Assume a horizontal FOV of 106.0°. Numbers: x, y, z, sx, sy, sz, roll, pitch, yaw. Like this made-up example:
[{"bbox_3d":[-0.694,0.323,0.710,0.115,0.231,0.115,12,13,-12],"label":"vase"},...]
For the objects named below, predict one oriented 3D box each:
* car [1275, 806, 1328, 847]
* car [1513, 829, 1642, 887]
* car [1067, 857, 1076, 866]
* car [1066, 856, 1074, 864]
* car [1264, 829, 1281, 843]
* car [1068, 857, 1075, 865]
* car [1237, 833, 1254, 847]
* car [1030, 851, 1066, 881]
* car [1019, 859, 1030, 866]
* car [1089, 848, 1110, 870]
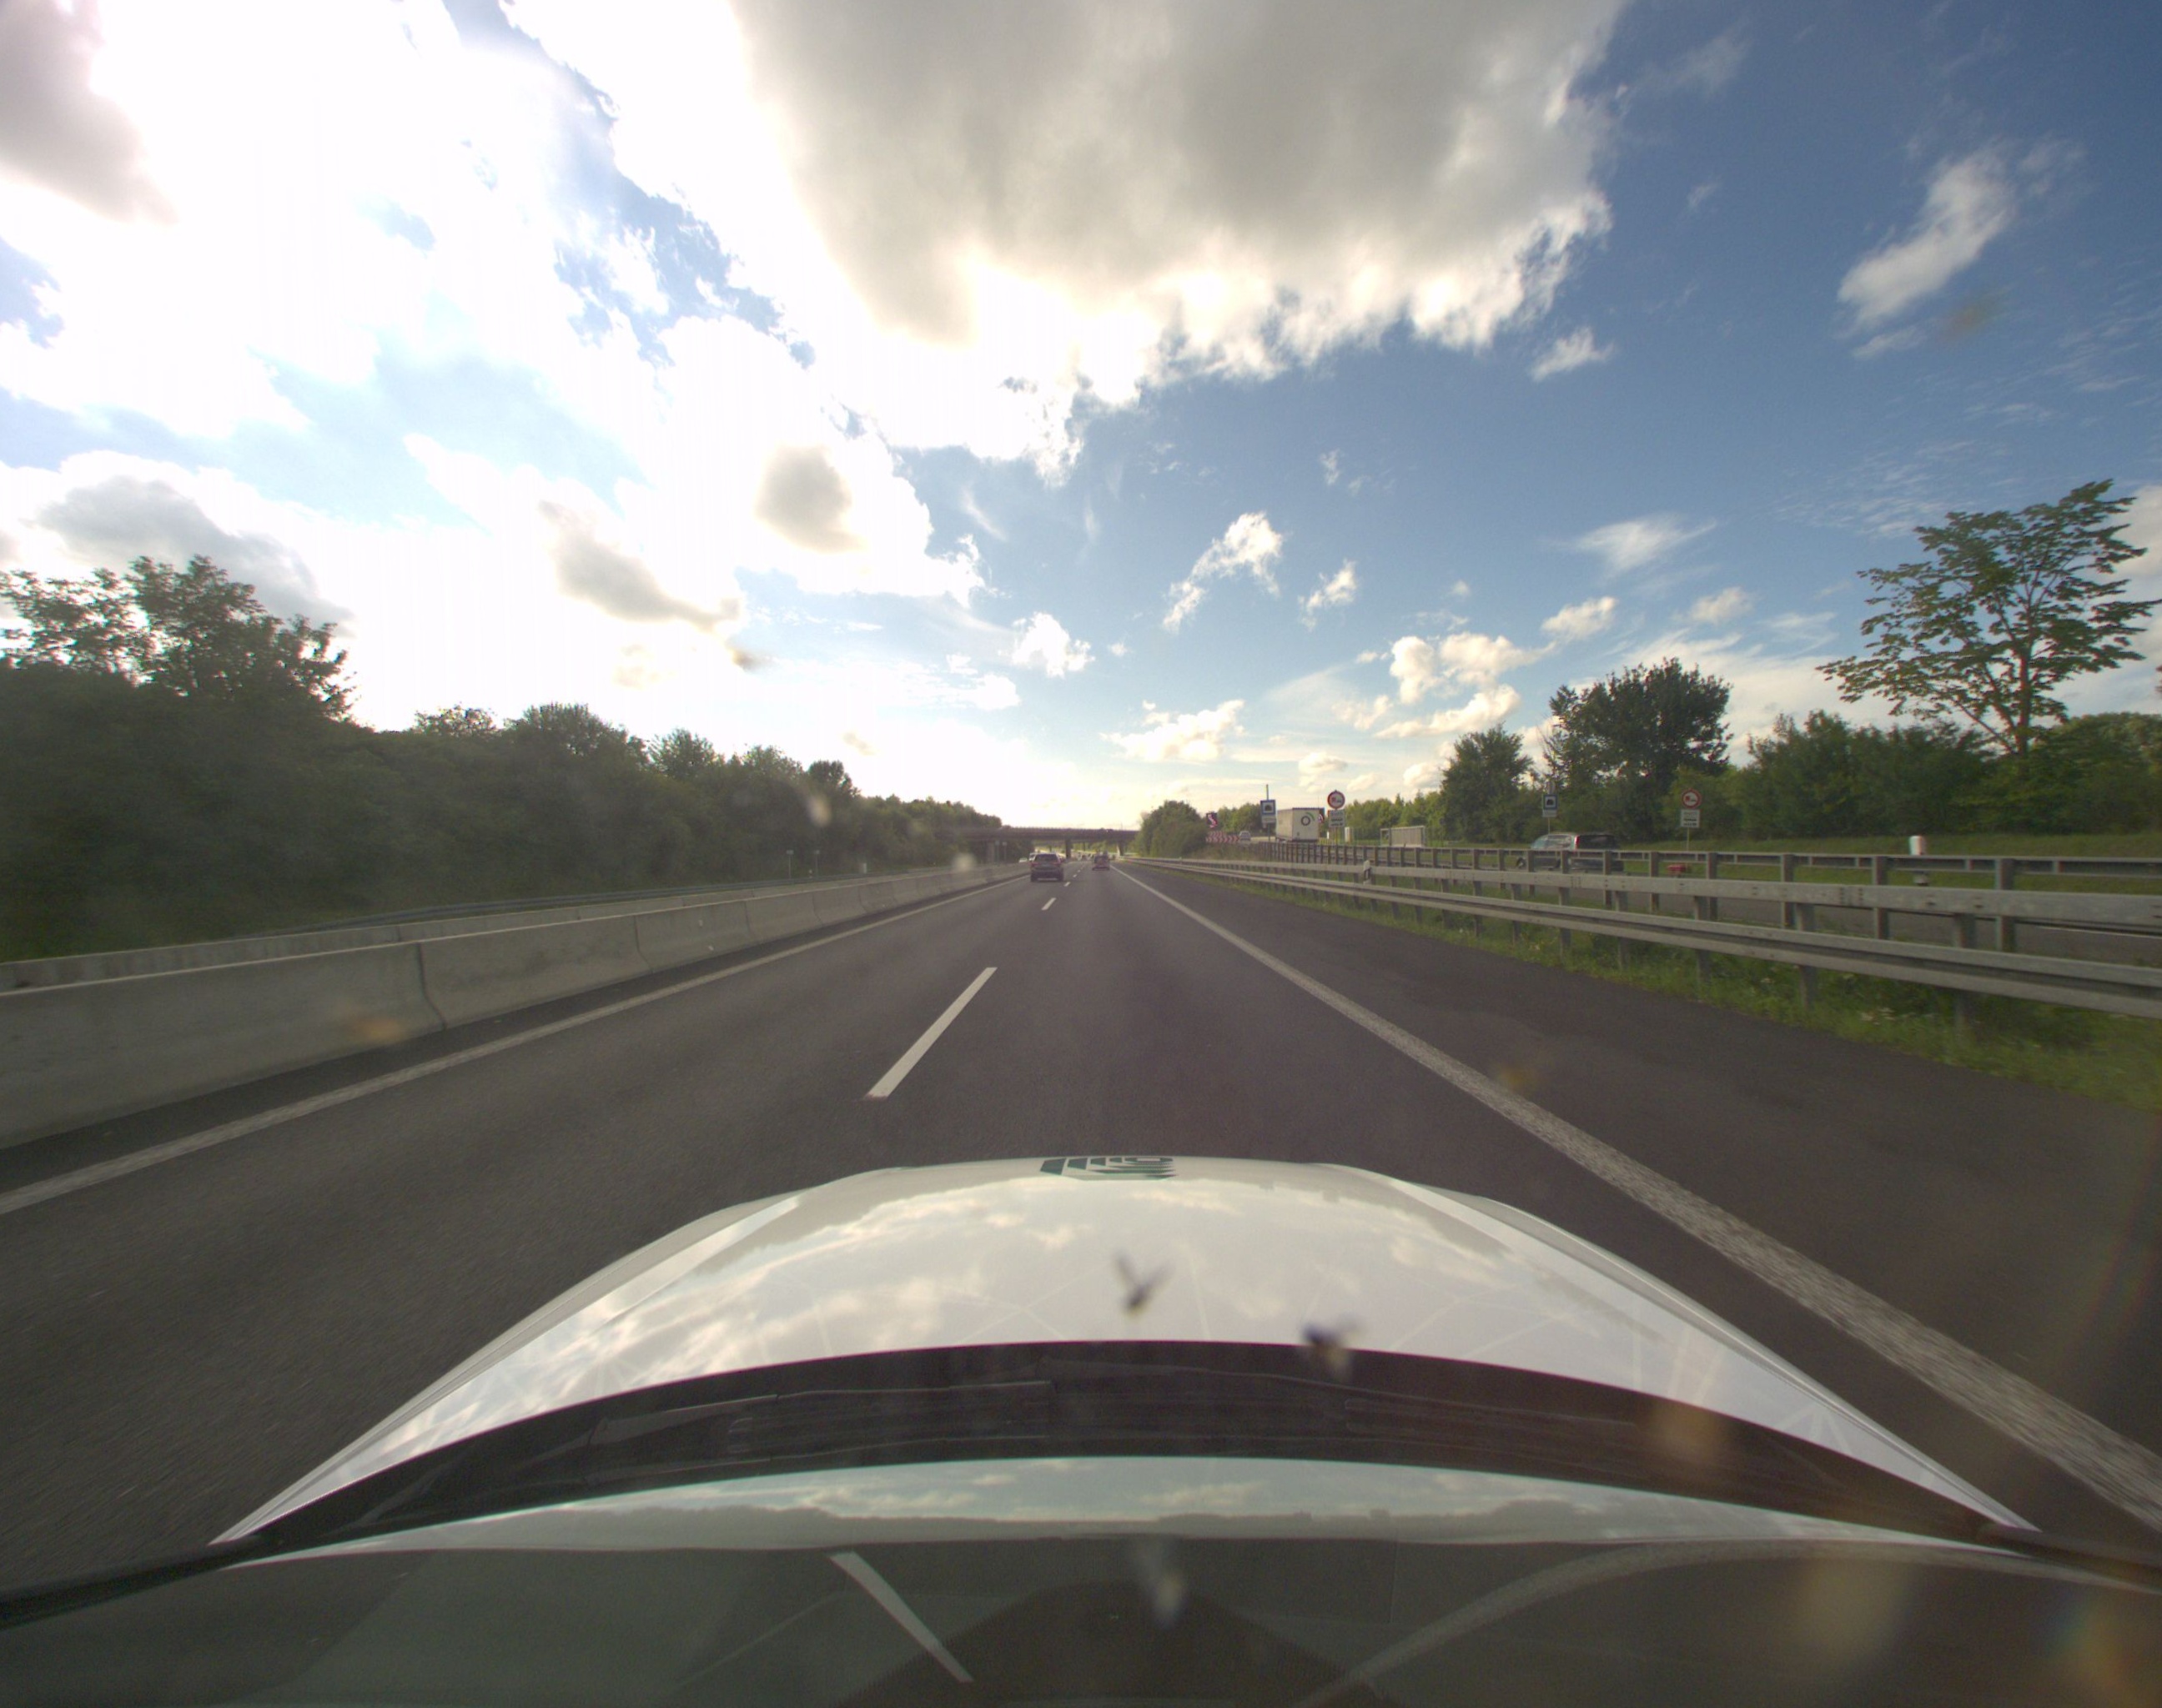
[{"bbox_3d":[21.988,-2.624,81.603,3.560,3.676,7.557,-3,0,4],"label":"car"},{"bbox_3d":[16.861,0.134,27.916,1.986,1.717,4.001,-3,0,1],"label":"car"},{"bbox_3d":[-2.437,1.909,206.619,1.987,2.013,4.000,-3,0,1],"label":"car"},{"bbox_3d":[-2.967,1.746,225.756,1.987,2.013,4.000,-3,0,1],"label":"car"},{"bbox_3d":[30.198,-2.891,128.456,1.984,2.013,4.006,-3,0,5],"label":"car"},{"bbox_3d":[-2.695,2.041,236.574,1.987,2.013,4.000,-3,0,1],"label":"car"},{"bbox_3d":[24.676,-2.068,122.534,1.984,2.013,4.006,-3,0,5],"label":"car"},{"bbox_3d":[-1.951,0.709,49.102,1.743,1.630,3.611,-3,0,2],"label":"car"},{"bbox_3d":[-12.944,1.917,186.422,1.987,1.436,4.725,-3,0,1],"label":"car"},{"bbox_3d":[1.937,0.504,83.689,1.986,2.081,4.001,-3,0,1],"label":"car"}]
